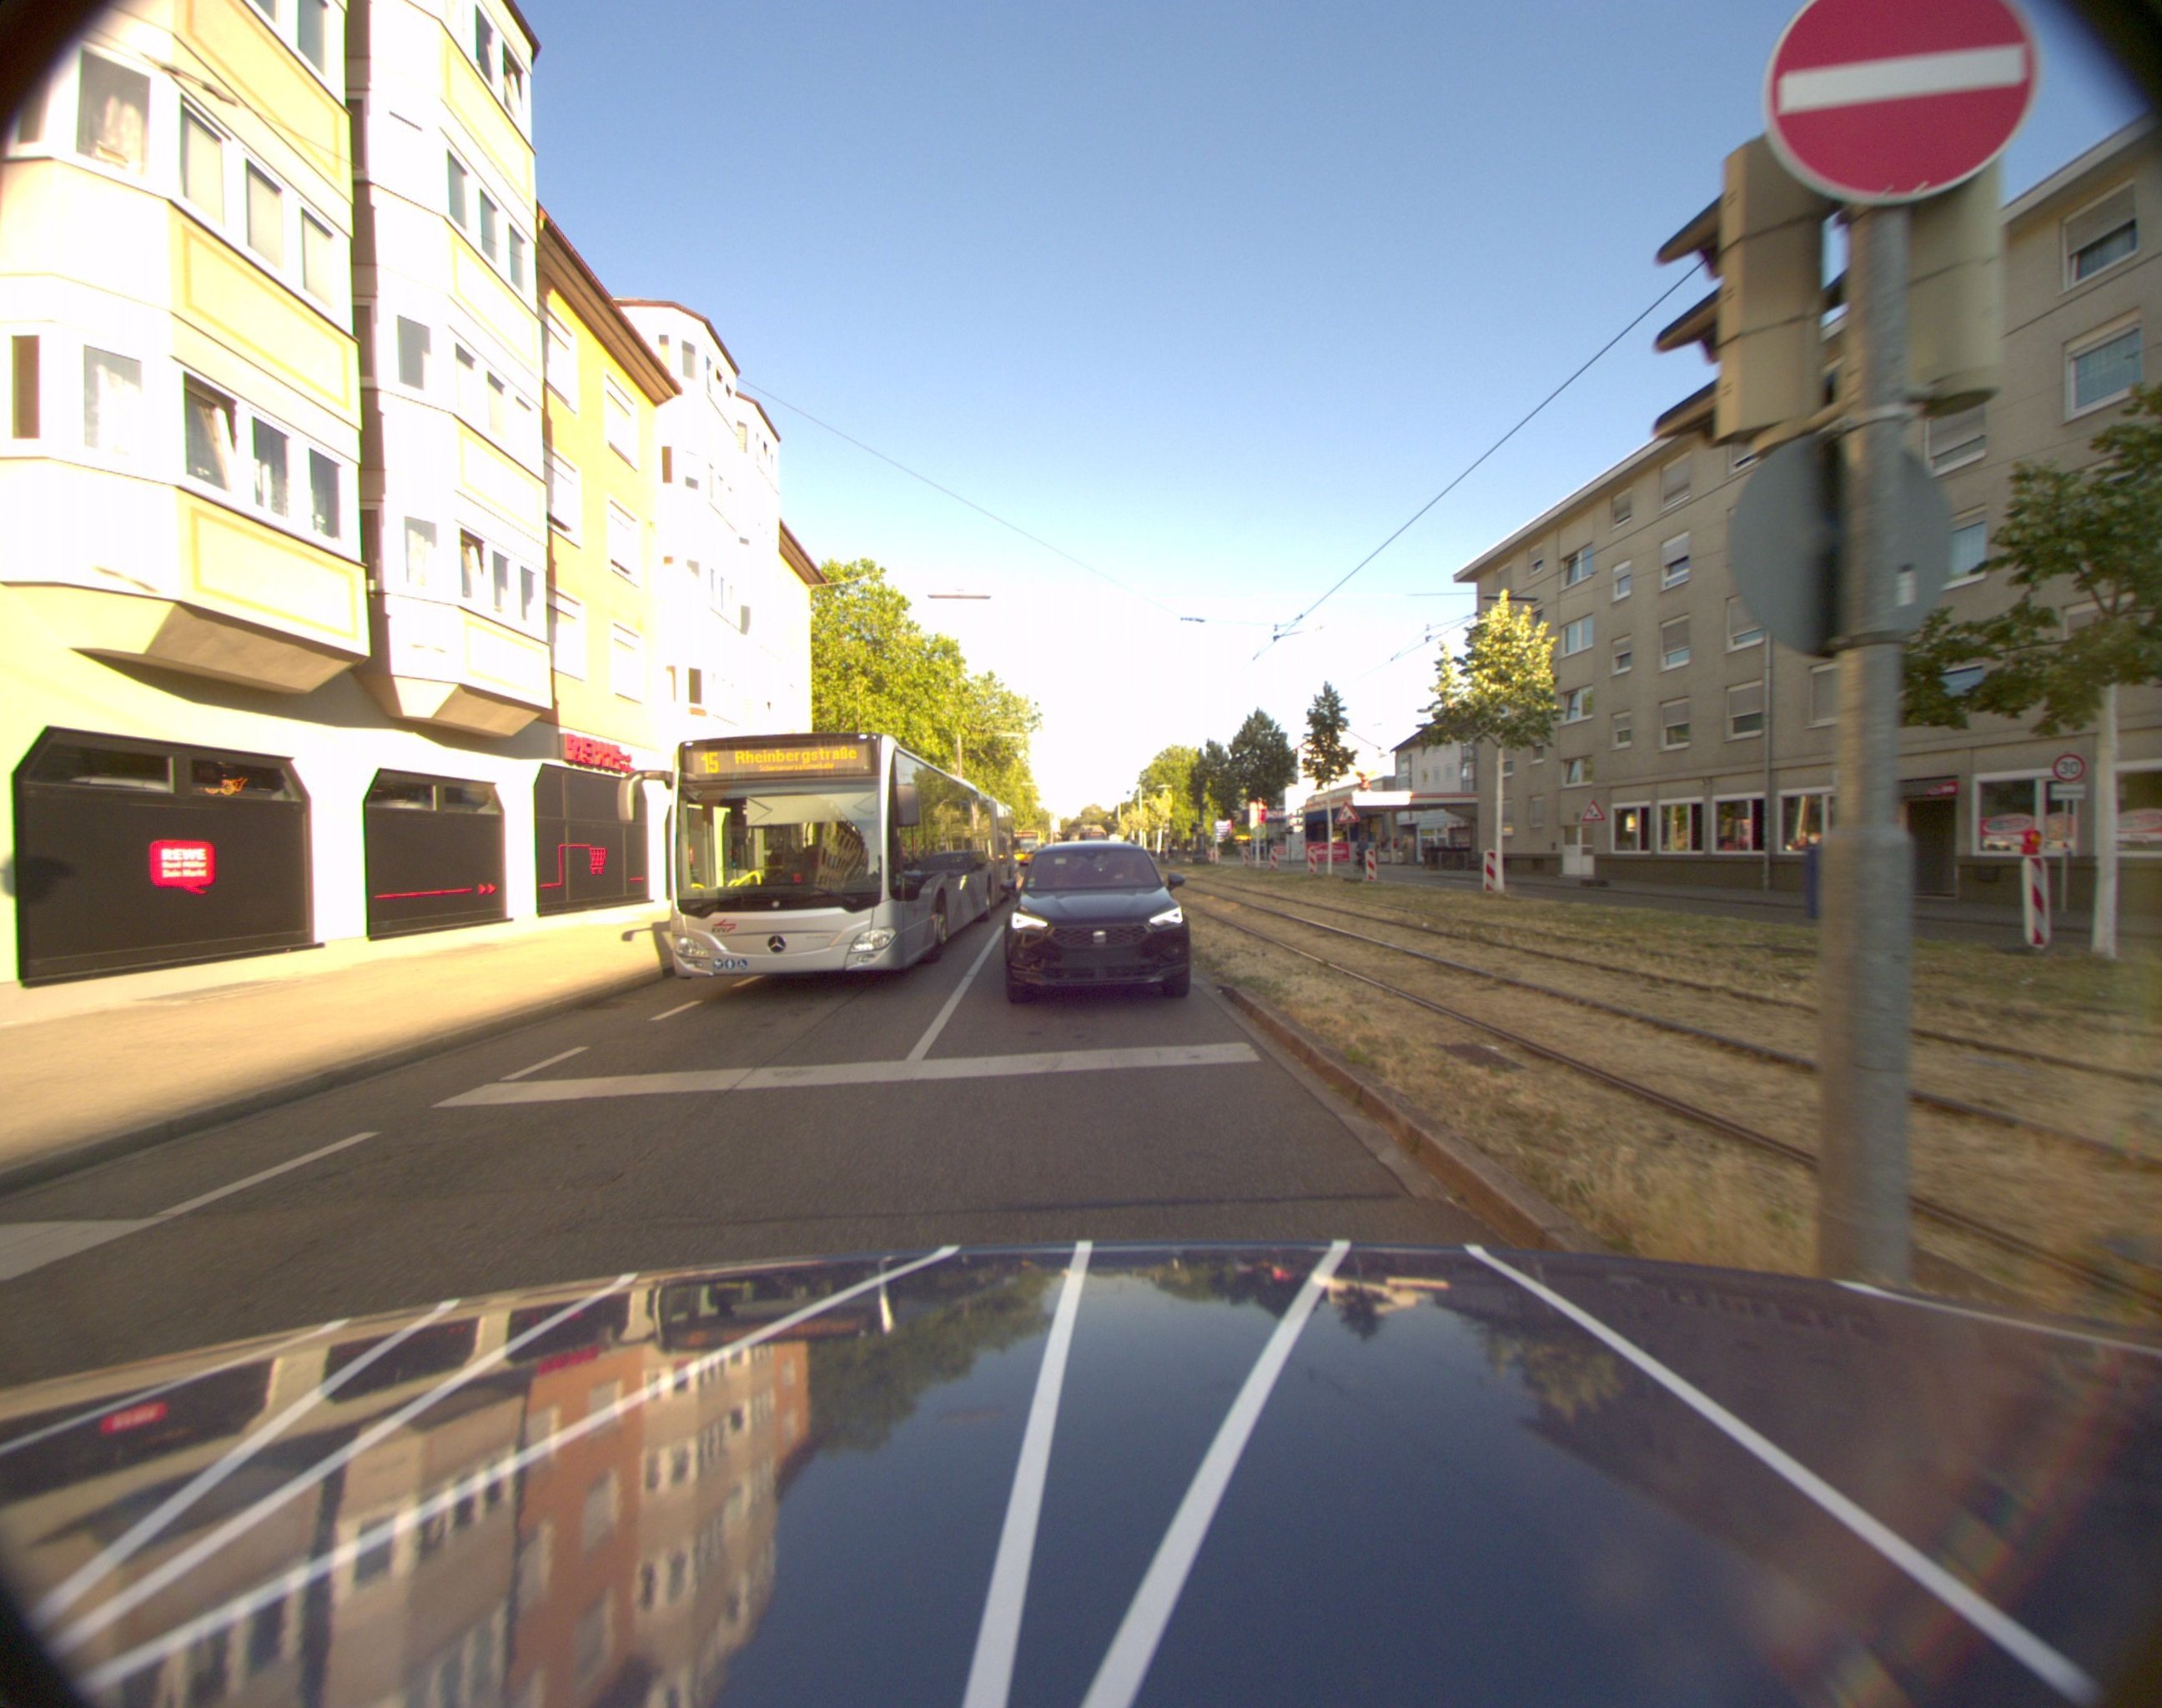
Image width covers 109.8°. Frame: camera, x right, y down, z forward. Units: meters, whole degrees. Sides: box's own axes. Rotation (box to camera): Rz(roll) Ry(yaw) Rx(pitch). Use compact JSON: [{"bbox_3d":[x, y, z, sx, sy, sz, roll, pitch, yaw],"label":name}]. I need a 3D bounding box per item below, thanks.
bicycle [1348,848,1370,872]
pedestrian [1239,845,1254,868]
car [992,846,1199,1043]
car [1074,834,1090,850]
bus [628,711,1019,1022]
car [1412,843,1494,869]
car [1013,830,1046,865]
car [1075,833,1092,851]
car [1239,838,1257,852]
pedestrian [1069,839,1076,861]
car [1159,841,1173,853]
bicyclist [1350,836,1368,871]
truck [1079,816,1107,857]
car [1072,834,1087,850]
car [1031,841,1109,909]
[{"bbox_3d":[15.215,0.329,41.551,0.456,1.250,1.870,-1,0,-1],"label":"bicycle"},{"bbox_3d":[9.295,0.133,42.706,0.664,1.263,0.581,-2,1,-1],"label":"pedestrian"},{"bbox_3d":[0.068,0.762,8.560,1.775,1.667,3.999,-1,1,-2],"label":"car"},{"bbox_3d":[0.089,-1.502,94.731,1.767,2.002,3.790,-2,1,-2],"label":"car"},{"bbox_3d":[-3.345,-0.008,16.656,2.773,3.132,17.735,-1,1,-1],"label":"bus"},{"bbox_3d":[21.118,0.129,43.259,3.728,1.460,1.907,0,-1,-3],"label":"car"},{"bbox_3d":[-4.472,-0.630,66.664,2.682,2.875,5.450,-2,1,-3],"label":"car"},{"bbox_3d":[0.268,-1.391,89.703,1.767,2.002,3.790,-2,1,-2],"label":"car"},{"bbox_3d":[21.258,-1.158,96.918,1.781,1.547,4.001,-2,2,7],"label":"car"},{"bbox_3d":[-0.840,-0.375,72.703,0.625,2.002,0.695,-2,1,-2],"label":"pedestrian"},{"bbox_3d":[13.196,-1.064,118.328,1.998,1.725,4.394,-2,1,5],"label":"car"},{"bbox_3d":[15.192,-0.024,41.508,0.653,1.872,0.809,0,1,-2],"label":"bicyclist"},{"bbox_3d":[1.153,-1.765,75.548,2.306,3.798,7.720,-2,1,-2],"label":"truck"},{"bbox_3d":[-0.230,-1.593,99.040,1.767,2.002,3.790,-2,1,-2],"label":"car"},{"bbox_3d":[-0.346,0.507,21.603,1.999,1.740,3.998,-1,1,-2],"label":"car"}]
